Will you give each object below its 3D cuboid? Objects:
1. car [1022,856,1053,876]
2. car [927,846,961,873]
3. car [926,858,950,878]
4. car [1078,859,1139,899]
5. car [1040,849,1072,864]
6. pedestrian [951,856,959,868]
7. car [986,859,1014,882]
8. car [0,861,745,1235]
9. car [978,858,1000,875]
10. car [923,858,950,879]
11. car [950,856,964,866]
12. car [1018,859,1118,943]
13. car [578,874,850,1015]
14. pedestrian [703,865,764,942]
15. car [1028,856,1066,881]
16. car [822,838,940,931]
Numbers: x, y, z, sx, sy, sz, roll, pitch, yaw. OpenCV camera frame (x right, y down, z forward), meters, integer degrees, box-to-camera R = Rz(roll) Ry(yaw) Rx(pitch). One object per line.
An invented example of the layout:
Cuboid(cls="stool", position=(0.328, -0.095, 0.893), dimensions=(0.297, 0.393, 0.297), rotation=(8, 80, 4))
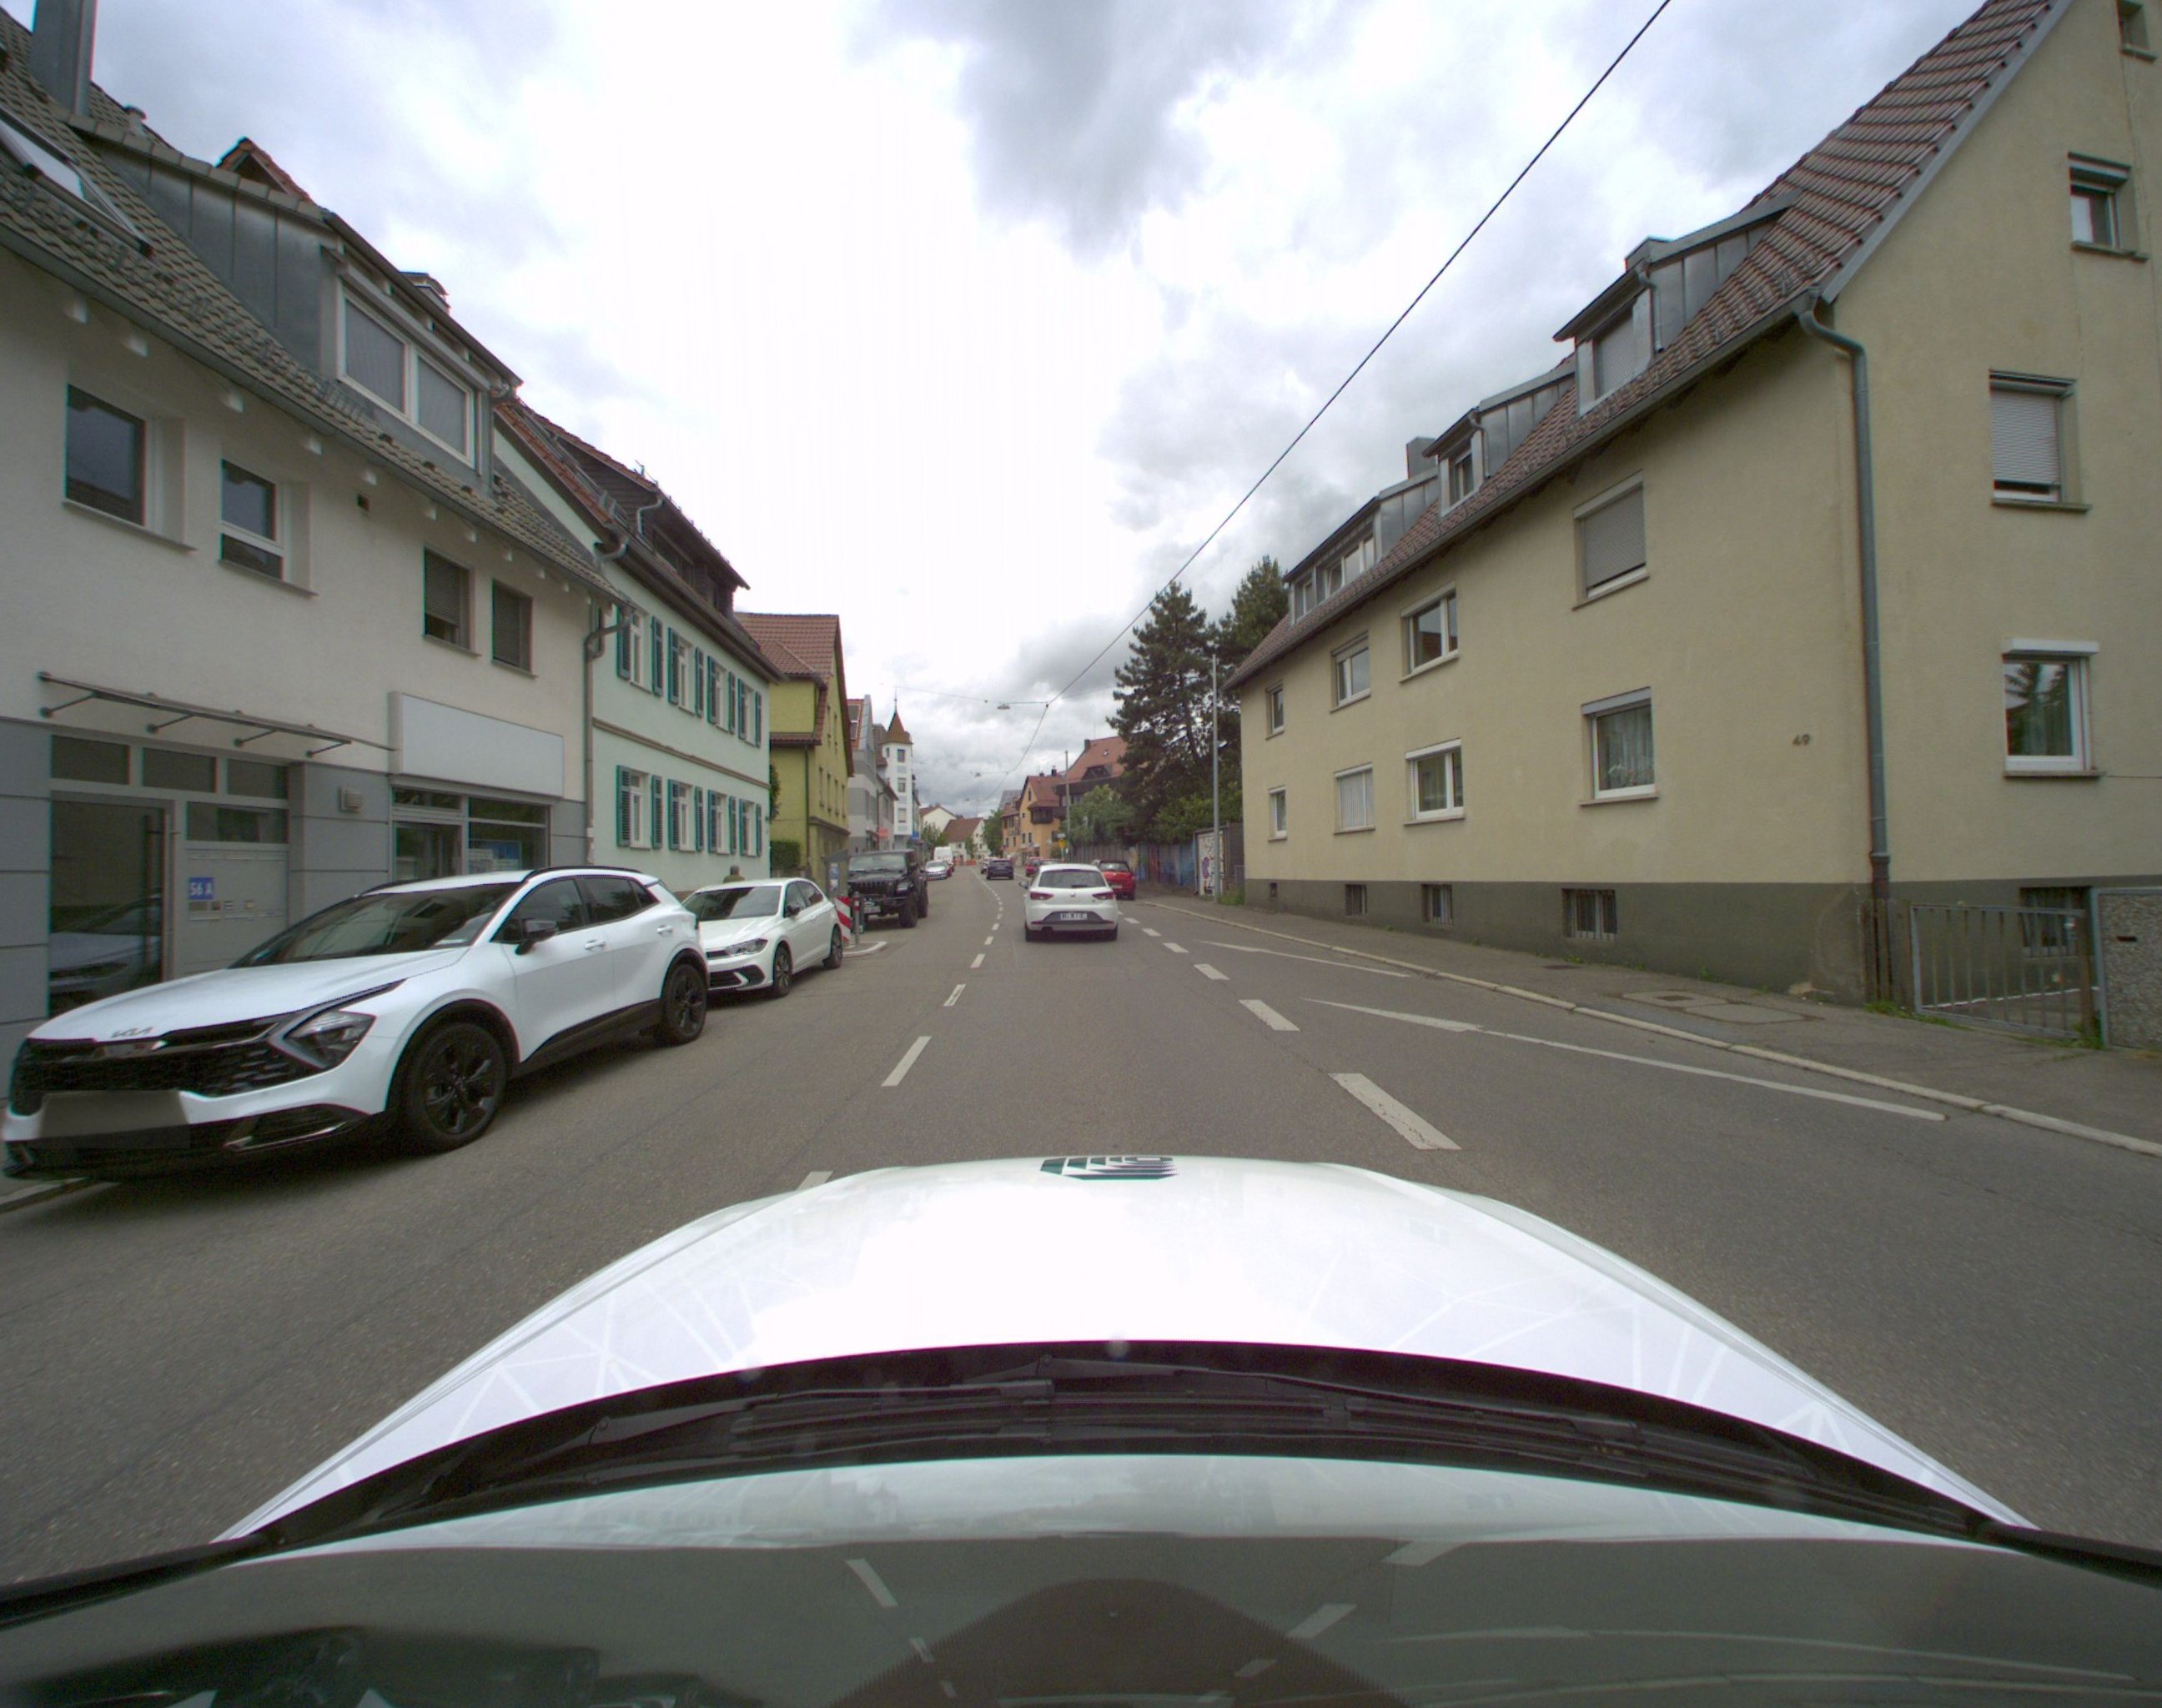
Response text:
Cuboid(cls="car", position=(-3.344, 0.925, 62.090), dimensions=(1.759, 1.452, 3.984), rotation=(-1, 0, -11))
Cuboid(cls="car", position=(-14.112, 0.556, 84.034), dimensions=(2.142, 2.687, 5.551), rotation=(0, 0, 4))
Cuboid(cls="car", position=(-11.854, 1.157, 67.803), dimensions=(1.799, 1.479, 4.038), rotation=(-4, 0, -9))
Cuboid(cls="car", position=(0.986, 0.928, 31.707), dimensions=(1.757, 1.452, 3.990), rotation=(1, 0, -7))
Cuboid(cls="car", position=(-2.513, 0.276, 82.504), dimensions=(2.817, 1.512, 1.697), rotation=(0, 1, -20))
Cuboid(cls="pedestrian", position=(-21.823, 1.342, 141.139), dimensions=(1.227, 2.013, 1.172), rotation=(0, 0, -8))
Cuboid(cls="car", position=(-5.527, 1.083, 55.280), dimensions=(1.757, 1.452, 3.989), rotation=(-1, 0, -8))
Cuboid(cls="car", position=(-4.537, 0.905, 6.132), dimensions=(1.991, 1.633, 4.857), rotation=(0, 0, 0))
Cuboid(cls="car", position=(-8.129, 1.069, 71.933), dimensions=(1.758, 1.452, 3.987), rotation=(-1, 0, -9))
Cuboid(cls="car", position=(-10.988, 1.089, 62.164), dimensions=(1.799, 1.479, 4.038), rotation=(-4, 0, -9))
Cuboid(cls="car", position=(-22.634, 1.247, 148.906), dimensions=(1.787, 1.701, 4.002), rotation=(0, 0, 2))
Cuboid(cls="car", position=(-0.291, 0.849, 16.553), dimensions=(1.754, 1.452, 3.997), rotation=(-1, 0, -2))
Cuboid(cls="car", position=(-4.614, 1.043, 10.984), dimensions=(1.993, 1.436, 3.915), rotation=(0, 0, -2))
Cuboid(cls="pedestrian", position=(-6.975, 0.975, 16.389), dimensions=(0.804, 1.500, 0.974), rotation=(1, -1, -3))
Cuboid(cls="car", position=(-2.193, 0.898, 51.087), dimensions=(1.759, 1.452, 3.984), rotation=(-1, 0, -11))
Cuboid(cls="car", position=(-4.967, 0.687, 20.908), dimensions=(1.989, 2.013, 4.664), rotation=(-3, 0, -3))
